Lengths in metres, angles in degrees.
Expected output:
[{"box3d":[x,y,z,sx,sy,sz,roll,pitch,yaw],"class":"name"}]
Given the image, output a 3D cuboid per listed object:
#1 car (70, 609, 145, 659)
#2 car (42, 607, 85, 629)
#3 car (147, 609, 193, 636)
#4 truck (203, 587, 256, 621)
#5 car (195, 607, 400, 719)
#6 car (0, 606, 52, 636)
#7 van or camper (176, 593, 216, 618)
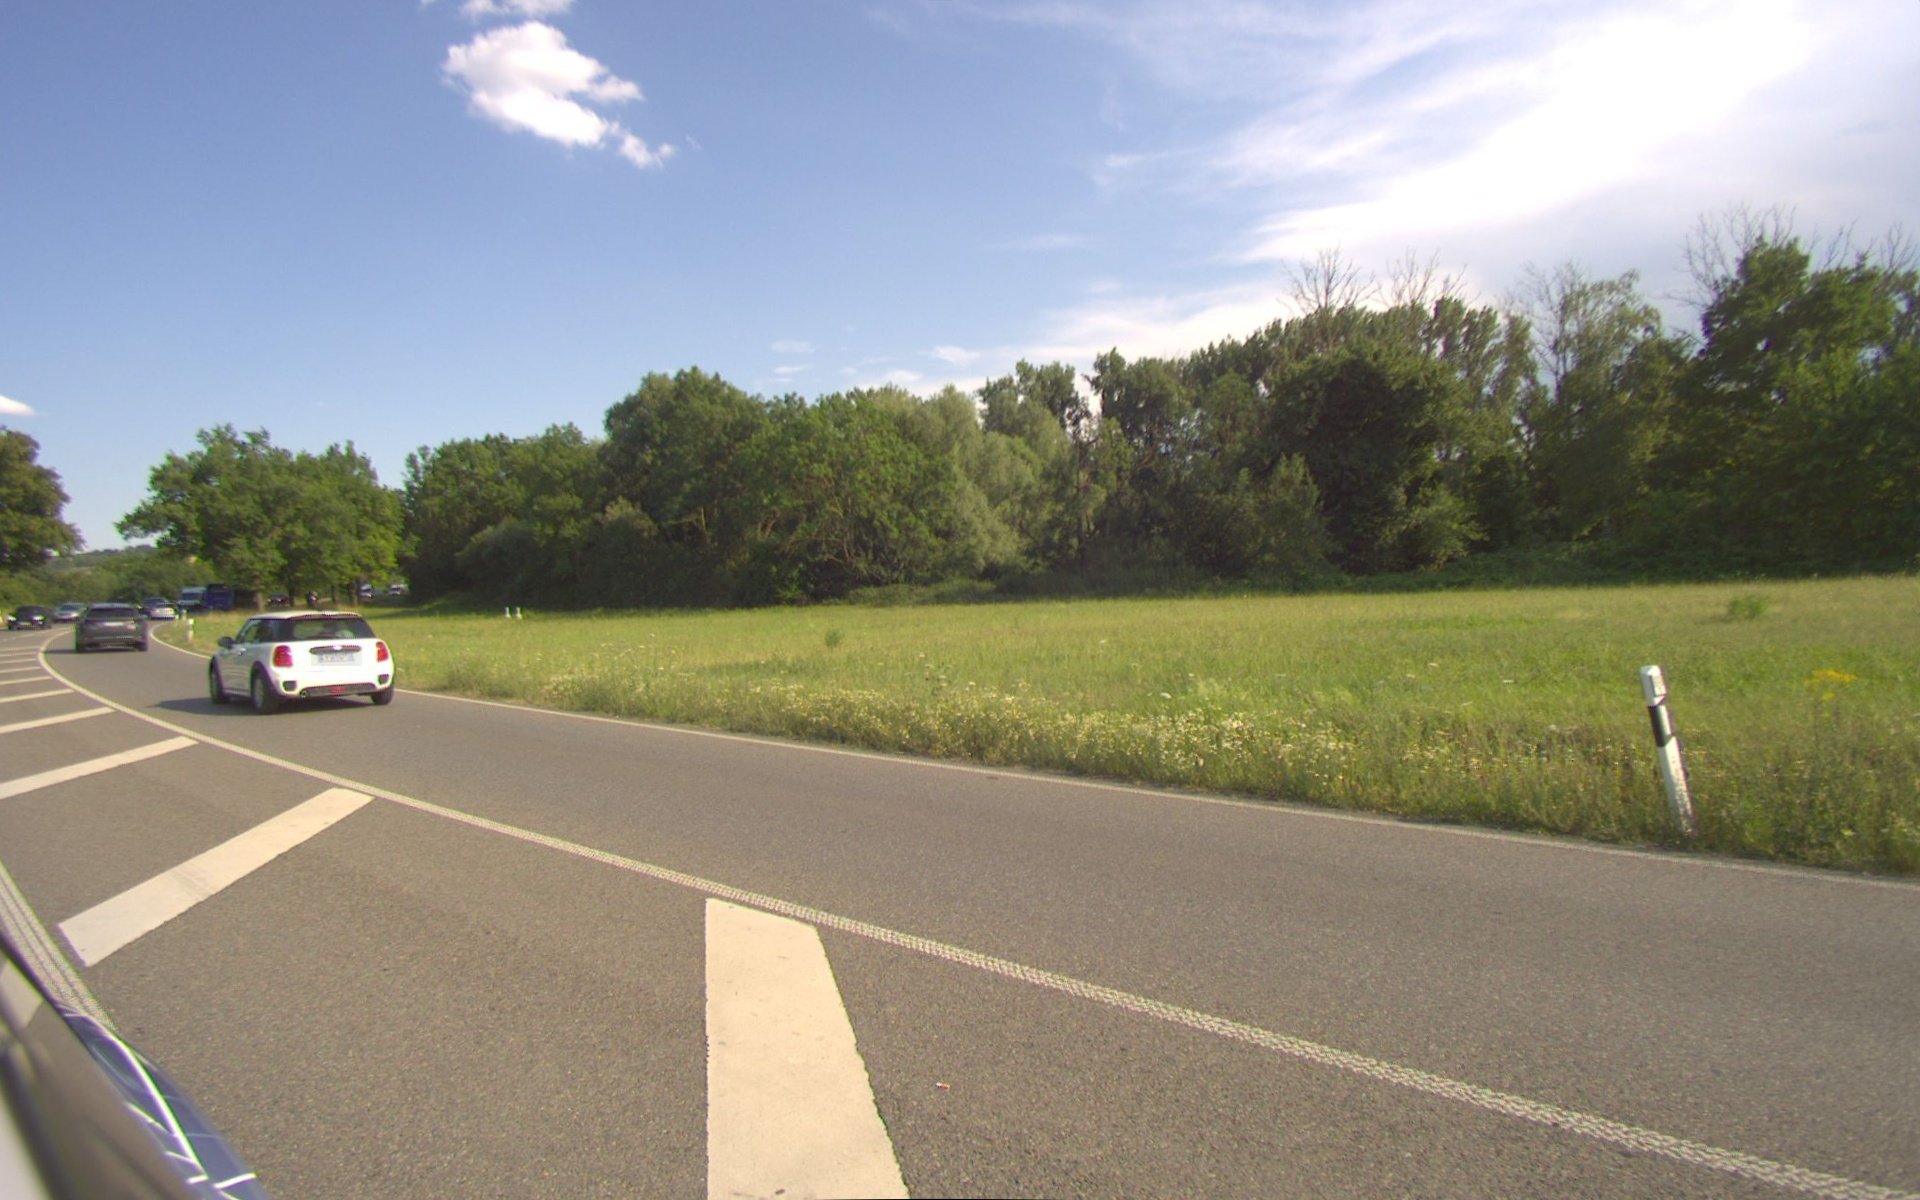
[{"box3d":[-29.430,1.120,34.976,1.903,1.598,4.080,0,-1,-40],"class":"car"},{"box3d":[-66.958,1.331,75.650,1.608,1.570,3.428,1,0,-28],"class":"car"},{"box3d":[-63.960,1.794,81.995,1.966,1.871,4.013,-4,2,-24],"class":"car"},{"box3d":[-75.736,0.359,105.028,2.875,3.236,6.704,-4,2,-23],"class":"truck"},{"box3d":[-10.068,0.870,15.301,3.477,1.478,1.728,-1,-1,41],"class":"car"},{"box3d":[-56.780,1.262,61.482,1.646,1.741,3.679,-1,0,-30],"class":"car"},{"box3d":[-82.002,0.568,108.661,2.000,2.493,5.094,-3,2,-21],"class":"van or camper"}]
